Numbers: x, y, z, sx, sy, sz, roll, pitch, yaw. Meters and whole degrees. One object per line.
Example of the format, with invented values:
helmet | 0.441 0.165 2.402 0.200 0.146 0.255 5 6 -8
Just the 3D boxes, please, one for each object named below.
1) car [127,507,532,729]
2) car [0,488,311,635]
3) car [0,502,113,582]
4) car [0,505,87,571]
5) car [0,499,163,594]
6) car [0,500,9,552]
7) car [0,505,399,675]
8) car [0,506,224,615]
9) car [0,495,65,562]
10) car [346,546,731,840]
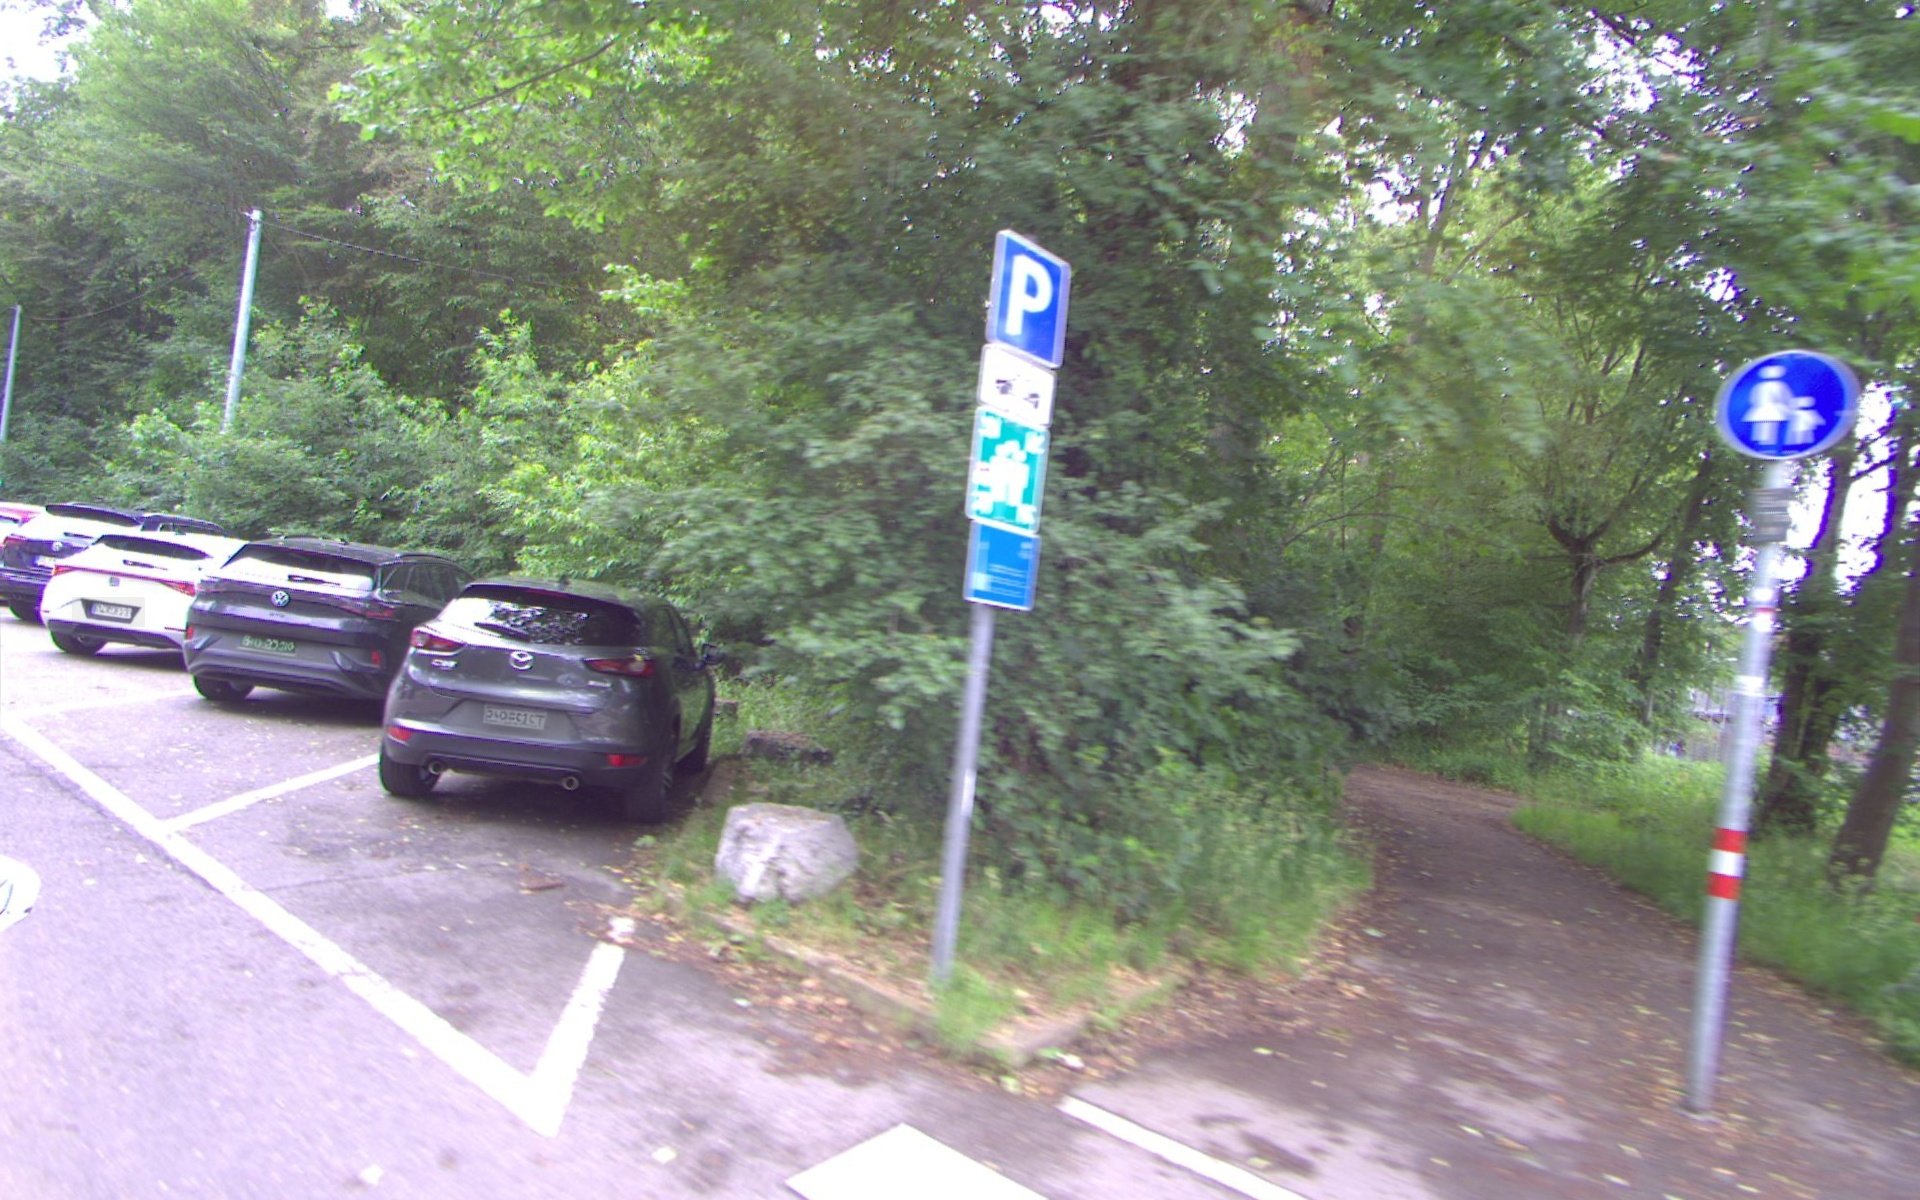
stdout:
car | -6.136 0.209 10.511 1.925 1.598 4.199 8 -2 -9
car | -11.687 -0.432 14.652 1.810 1.636 4.120 8 -2 -4
car | -20.184 -1.308 20.933 1.774 1.474 4.184 8 -2 -7
car | -23.195 -1.602 23.641 1.933 1.393 4.258 8 -2 -9
car | -17.442 -1.038 19.161 1.705 1.522 3.581 8 -2 -5
car | -28.810 -2.341 27.492 1.802 1.484 4.000 8 -2 -3
car | -8.848 -0.028 12.204 1.837 1.454 4.120 8 -2 -4
car | -14.519 -0.653 16.379 1.893 1.429 4.297 8 -2 -3
car | -26.178 -2.073 26.284 1.932 1.655 4.260 8 -2 -7
car | -2.868 0.604 7.766 1.671 1.509 3.789 8 -2 -8
